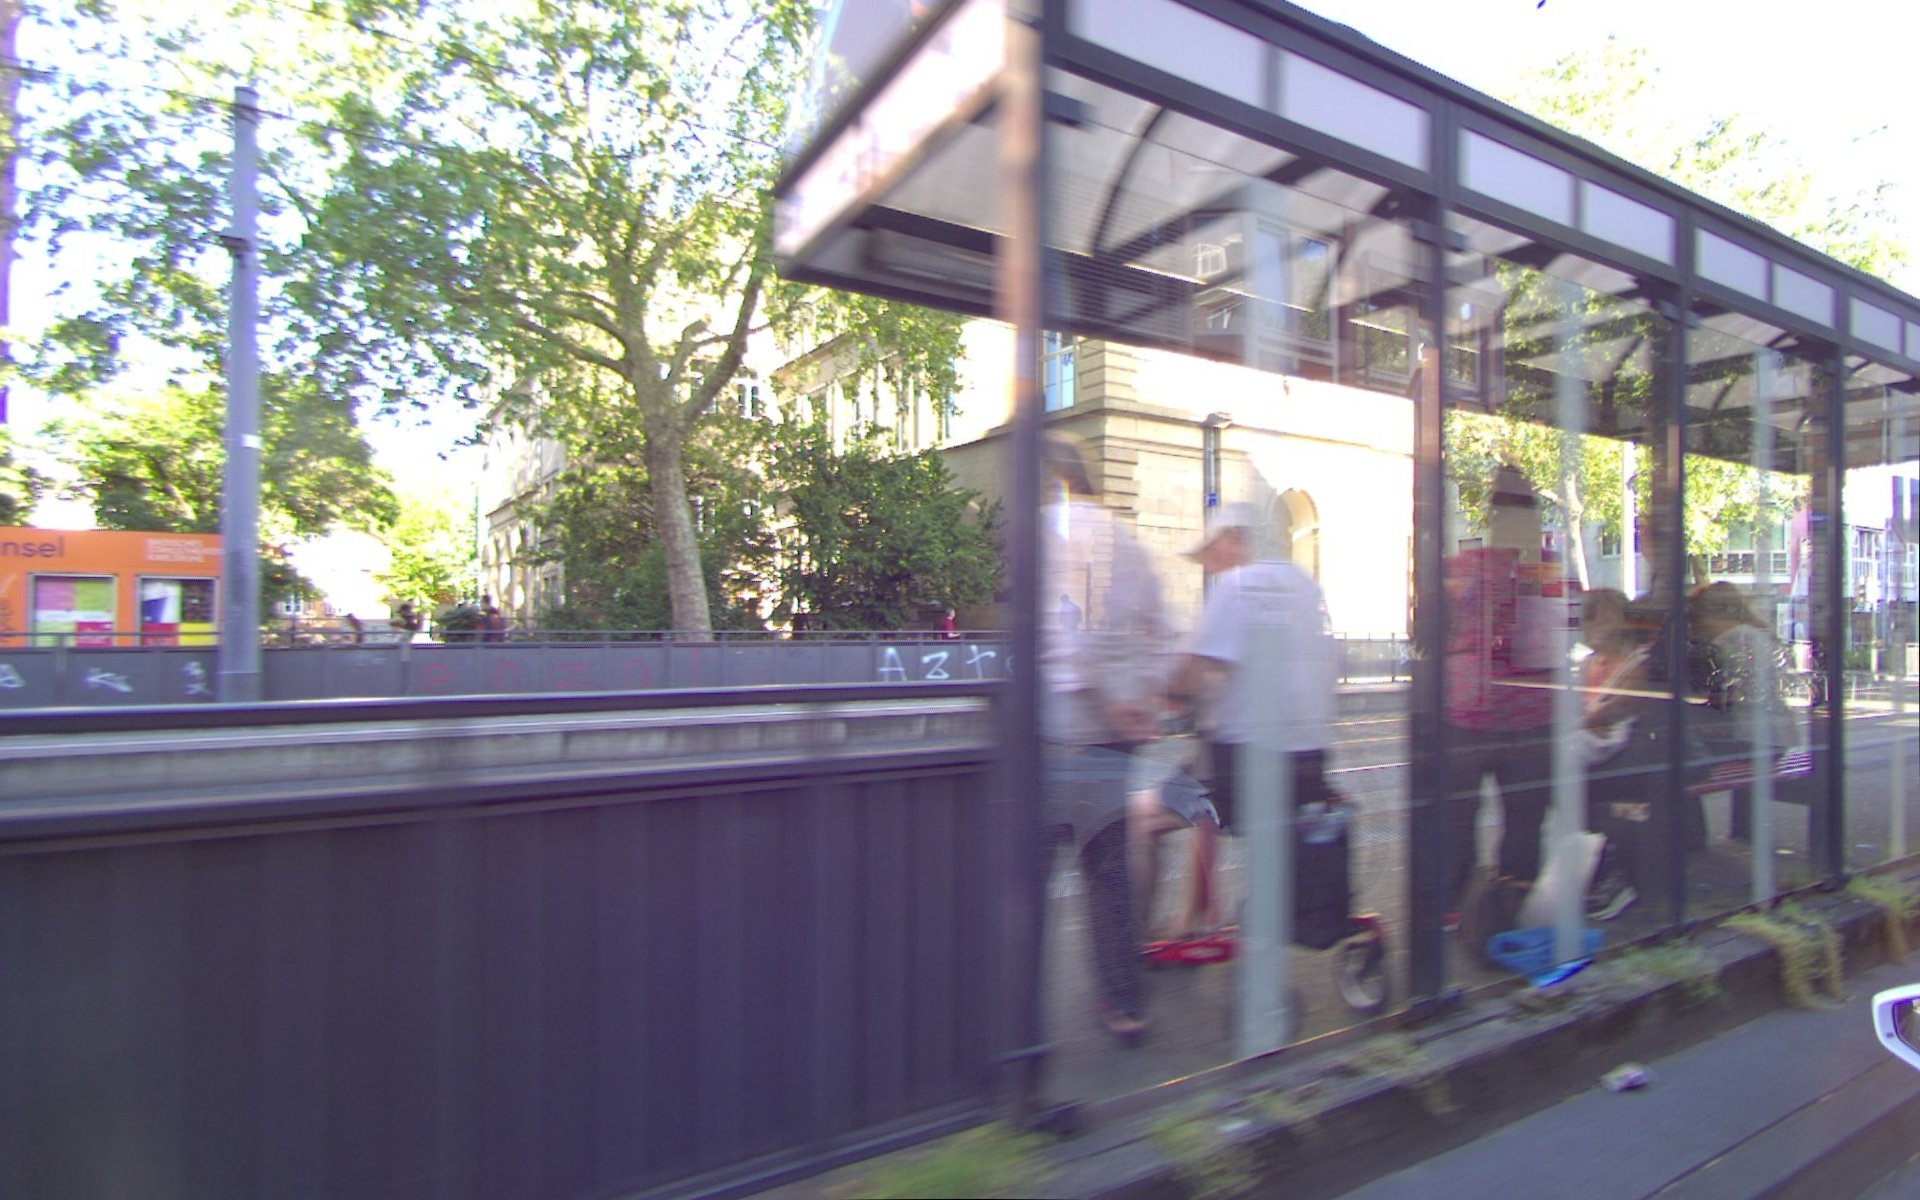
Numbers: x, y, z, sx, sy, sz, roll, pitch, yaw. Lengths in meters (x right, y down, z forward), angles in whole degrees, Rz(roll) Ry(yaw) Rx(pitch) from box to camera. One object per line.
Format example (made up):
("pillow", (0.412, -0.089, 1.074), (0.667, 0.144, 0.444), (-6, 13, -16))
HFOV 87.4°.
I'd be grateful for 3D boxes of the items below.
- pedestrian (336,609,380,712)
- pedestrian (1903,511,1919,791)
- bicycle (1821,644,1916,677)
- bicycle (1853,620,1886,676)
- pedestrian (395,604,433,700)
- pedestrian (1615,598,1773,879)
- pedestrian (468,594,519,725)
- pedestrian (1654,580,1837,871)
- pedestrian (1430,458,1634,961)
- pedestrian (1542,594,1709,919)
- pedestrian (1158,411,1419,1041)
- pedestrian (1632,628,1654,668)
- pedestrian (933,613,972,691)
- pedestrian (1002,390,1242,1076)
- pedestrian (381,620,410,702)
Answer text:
("pedestrian", (-10.929, 1.079, 18.254), (0.640, 1.830, 0.684), (1, -1, -30))
("pedestrian", (6.570, 0.326, 6.378), (0.739, 1.788, 0.686), (1, -1, -32))
("bicycle", (28.464, 1.879, 31.509), (2.127, 0.979, 0.647), (0, -1, 20))
("bicycle", (28.536, 1.502, 31.518), (0.572, 1.738, 0.647), (0, -1, 23))
("pedestrian", (-11.022, 1.039, 20.277), (0.618, 1.907, 0.704), (1, -1, -27))
("pedestrian", (3.269, 0.584, 4.479), (0.455, 1.168, 0.406), (1, 0, -31))
("pedestrian", (-7.482, 0.938, 16.112), (0.694, 2.040, 0.685), (1, 0, -26))
("pedestrian", (3.690, 0.553, 4.731), (0.455, 1.269, 0.537), (1, 0, -31))
("pedestrian", (1.930, 0.343, 3.432), (0.532, 1.593, 0.322), (1, 0, 22))
("pedestrian", (2.575, 0.569, 3.889), (0.455, 1.168, 0.363), (1, 0, -32))
("pedestrian", (0.937, 0.323, 2.877), (0.586, 1.594, 0.422), (1, 0, -31))
("pedestrian", (28.141, 1.968, 41.392), (0.678, 1.658, 0.675), (0, -1, 27))
("pedestrian", (-0.173, 1.163, 22.855), (0.607, 1.735, 0.675), (1, -1, -32))
("pedestrian", (0.416, 0.312, 2.631), (0.442, 1.594, 0.422), (1, 0, -30))
("pedestrian", (-10.970, 1.171, 19.538), (0.468, 1.550, 0.580), (1, 0, -29))
